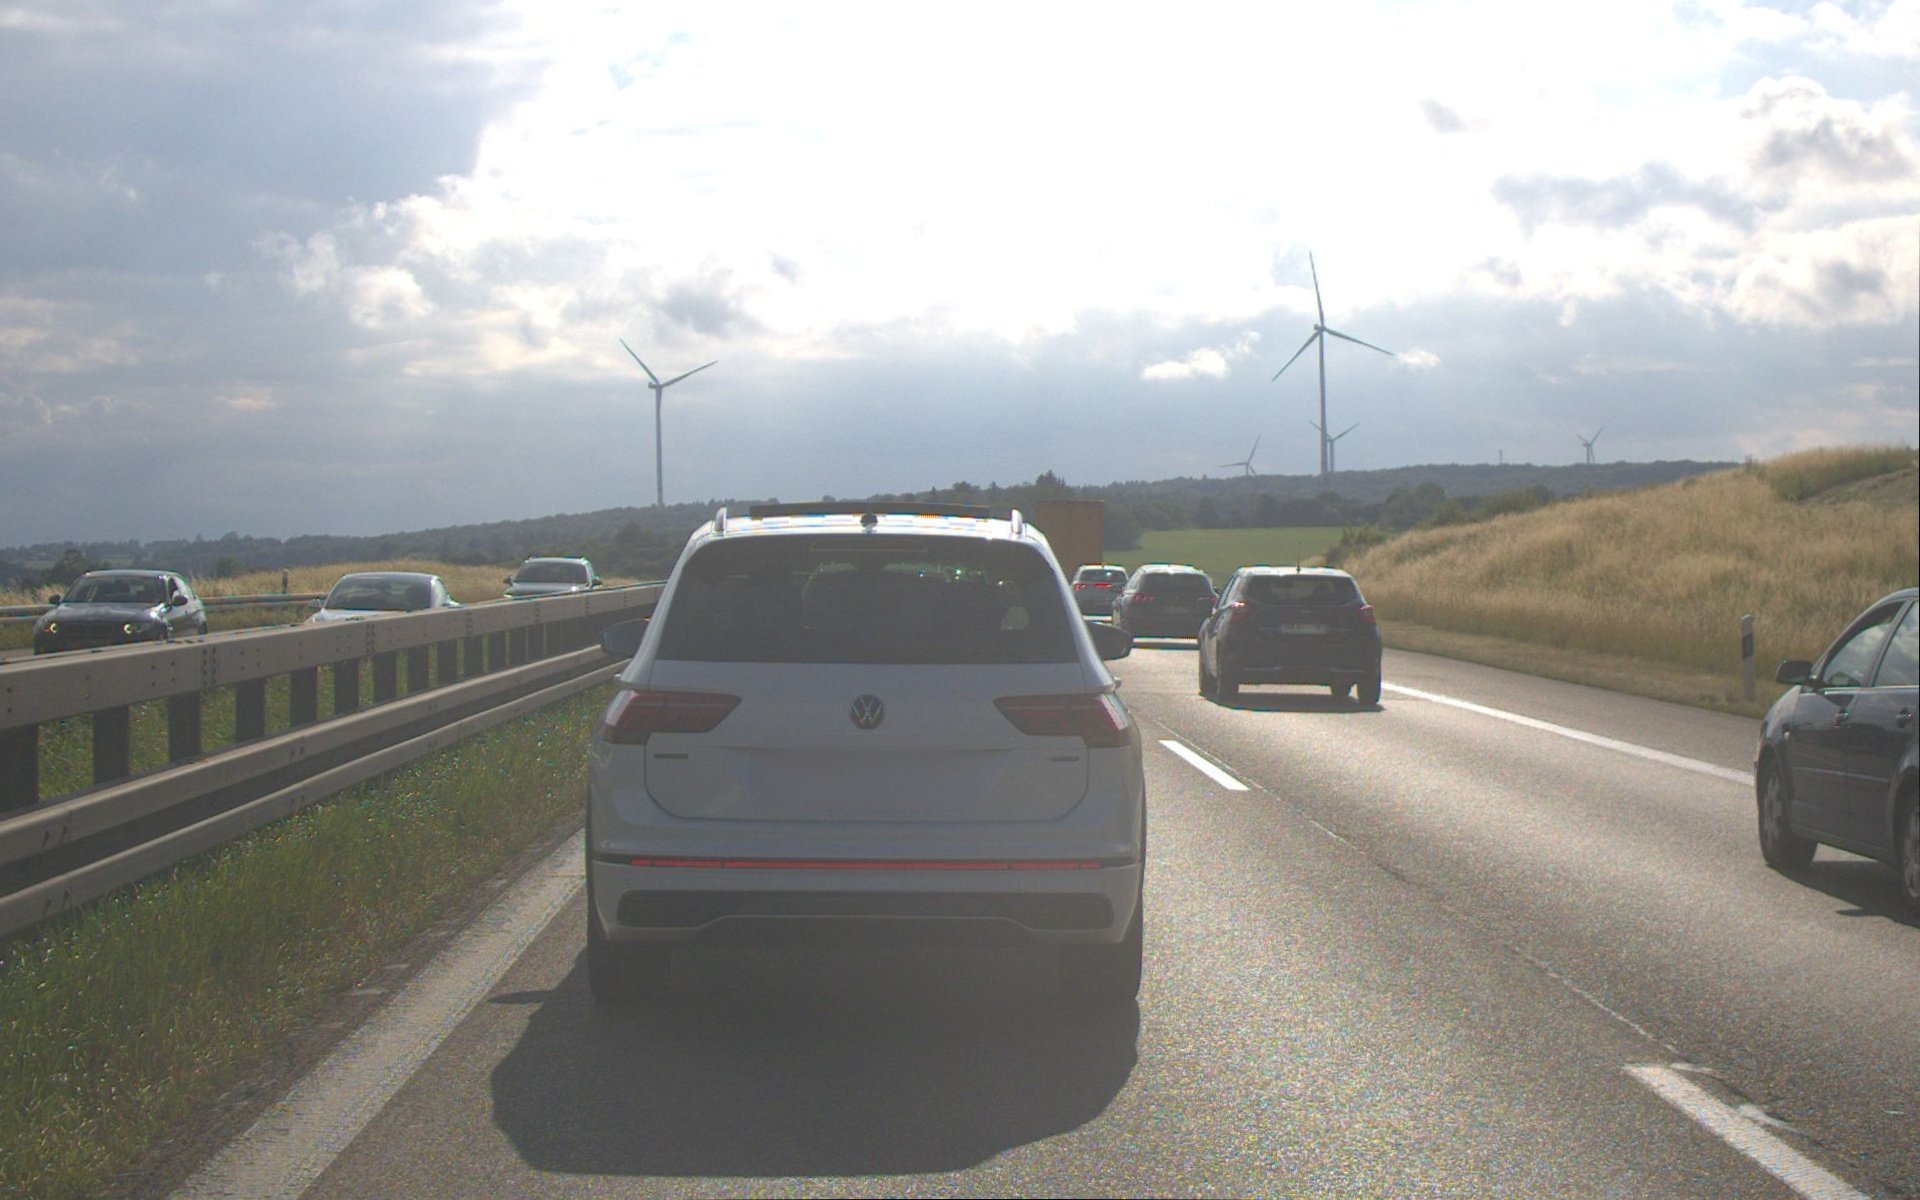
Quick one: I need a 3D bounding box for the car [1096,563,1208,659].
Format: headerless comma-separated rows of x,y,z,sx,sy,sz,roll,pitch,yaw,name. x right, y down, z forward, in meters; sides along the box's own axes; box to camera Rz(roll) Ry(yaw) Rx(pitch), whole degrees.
3.403,0.181,61.550,1.704,1.644,4.000,1,0,-1,car

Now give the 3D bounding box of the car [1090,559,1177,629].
3.943,-0.154,78.440,1.704,1.540,4.000,1,0,-1,car

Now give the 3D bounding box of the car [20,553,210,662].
-12.091,0.094,49.459,1.749,1.474,4.480,1,0,-2,car

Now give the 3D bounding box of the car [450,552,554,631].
-9.671,-0.195,72.866,1.749,1.598,4.266,1,0,-2,car

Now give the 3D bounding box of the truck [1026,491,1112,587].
4.206,-2.411,135.139,3.184,3.581,11.130,1,1,1,truck

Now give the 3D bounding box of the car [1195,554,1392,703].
3.630,0.284,37.983,1.704,1.540,4.000,1,0,-1,car

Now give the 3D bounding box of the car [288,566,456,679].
-8.339,0.297,49.087,1.749,1.516,4.480,1,0,-2,car

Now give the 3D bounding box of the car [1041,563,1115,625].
3.018,-0.155,88.708,1.704,1.540,4.000,1,0,-1,car

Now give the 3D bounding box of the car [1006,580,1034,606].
3.660,-0.440,209.481,1.704,1.540,4.000,1,0,1,car

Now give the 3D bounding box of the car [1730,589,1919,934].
4.765,0.674,15.743,1.605,1.415,3.672,1,0,-1,car

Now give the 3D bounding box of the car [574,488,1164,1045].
-0.308,0.494,12.423,1.770,1.670,4.000,1,0,-1,car

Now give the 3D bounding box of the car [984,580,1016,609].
2.225,-0.325,189.020,1.704,1.540,4.000,1,0,1,car

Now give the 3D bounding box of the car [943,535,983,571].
0.121,-2.081,152.435,1.704,1.540,4.000,1,0,-1,car

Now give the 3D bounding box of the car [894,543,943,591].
-1.482,-1.162,122.463,1.704,1.644,4.000,1,0,-1,car
